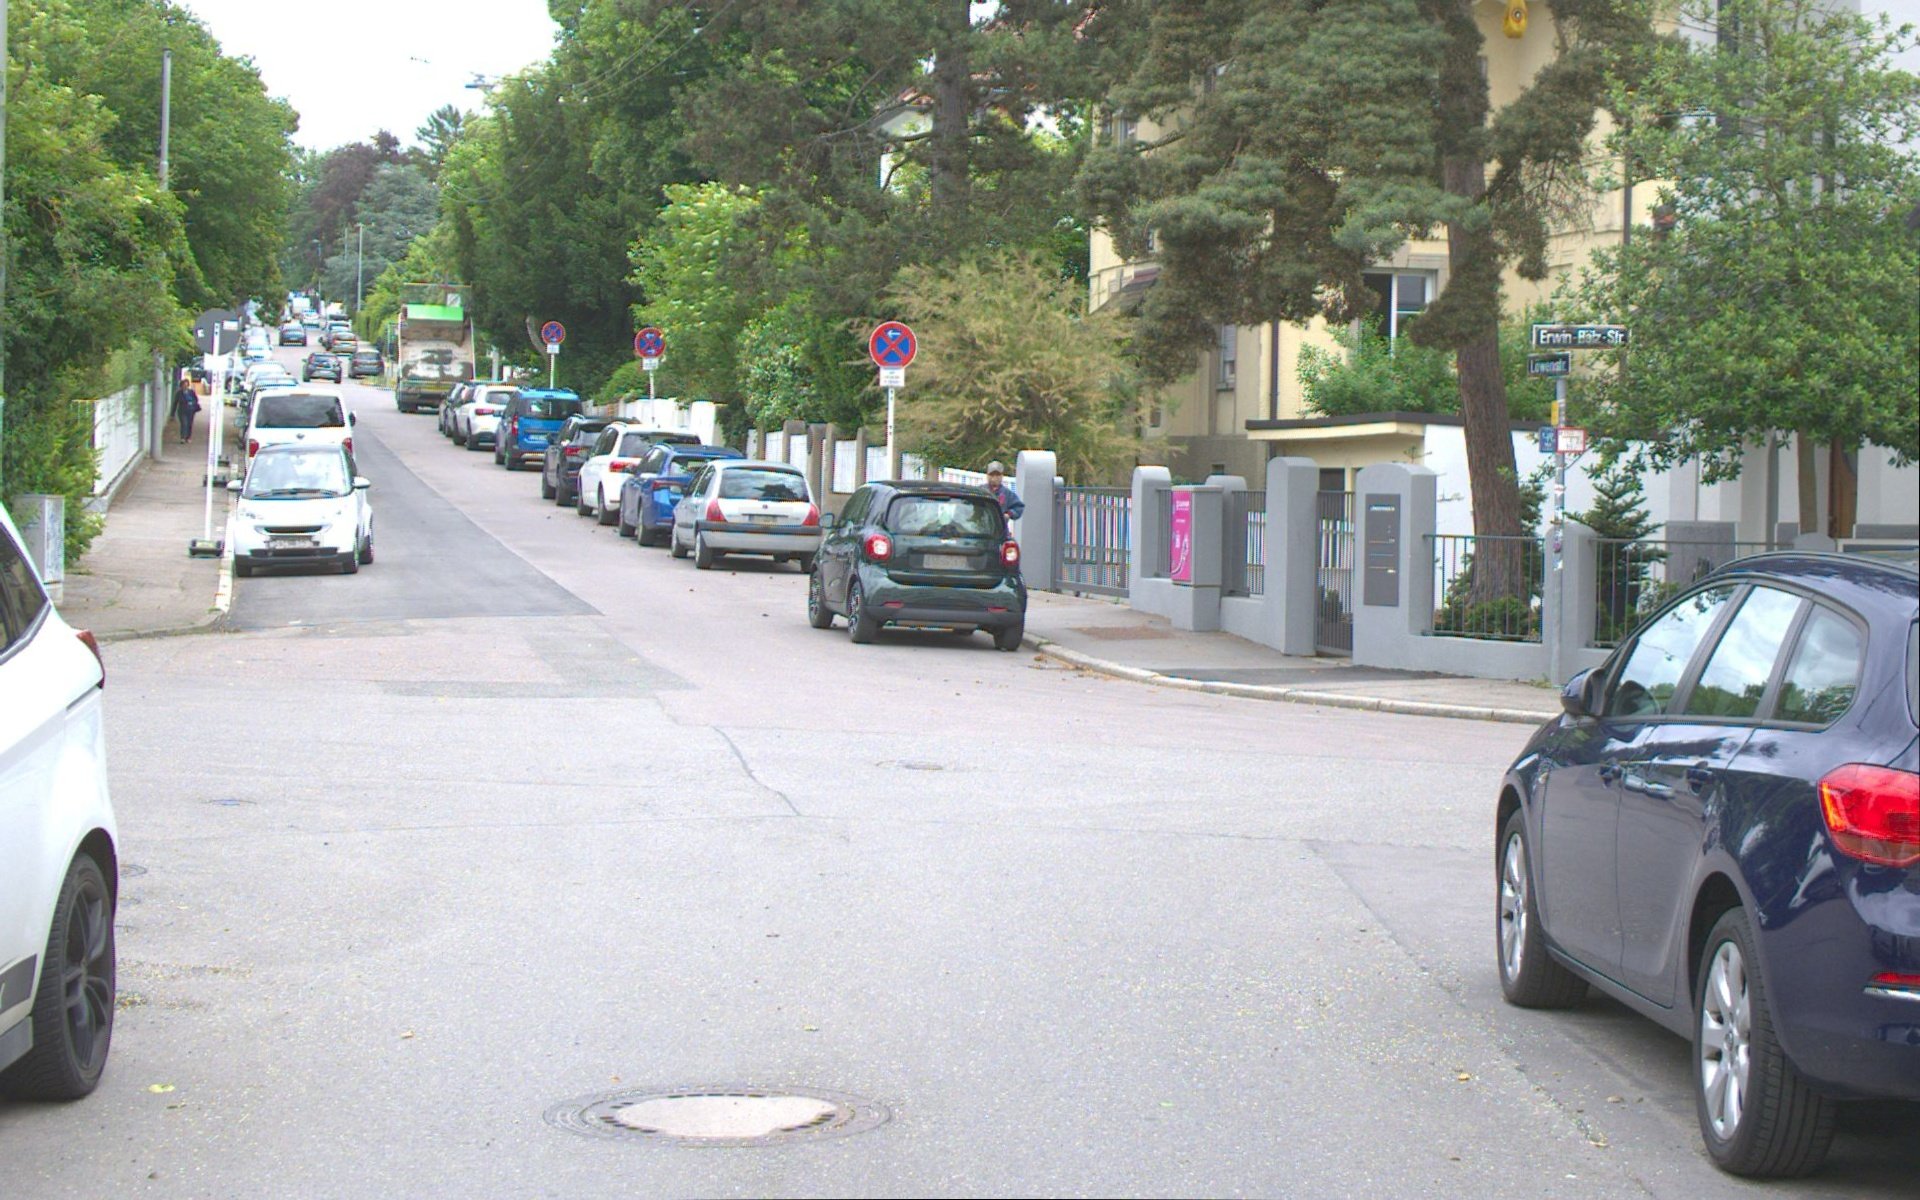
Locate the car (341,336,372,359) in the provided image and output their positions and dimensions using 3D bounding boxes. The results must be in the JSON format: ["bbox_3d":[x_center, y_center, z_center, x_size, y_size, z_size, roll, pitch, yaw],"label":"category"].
[{"bbox_3d":[-40.019,-16.736,227.946,1.809,1.331,3.634,2,5,-13],"label":"car"}]

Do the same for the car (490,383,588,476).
[{"bbox_3d":[-9.391,-3.816,76.503,1.682,1.822,4.159,3,4,-12],"label":"car"}]

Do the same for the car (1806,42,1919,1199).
[{"bbox_3d":[2.576,0.306,3.799,1.993,2.414,5.293,1,1,1],"label":"car"}]

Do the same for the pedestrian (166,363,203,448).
[{"bbox_3d":[-18.901,-4.744,83.817,0.811,2.006,0.860,1,4,-11],"label":"pedestrian"}]

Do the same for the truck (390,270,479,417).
[{"bbox_3d":[-17.934,-8.742,117.046,2.523,4.731,7.191,2,4,-11],"label":"truck"}]

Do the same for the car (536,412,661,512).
[{"bbox_3d":[-6.570,-2.516,62.127,1.749,1.602,4.077,3,3,-12],"label":"car"}]

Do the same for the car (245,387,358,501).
[{"bbox_3d":[-11.783,-2.828,61.432,1.854,1.906,4.622,-1,4,-11],"label":"car"}]

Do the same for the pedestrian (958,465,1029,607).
[{"bbox_3d":[0.376,-0.736,38.887,0.681,1.571,0.907,-1,2,-5],"label":"pedestrian"}]

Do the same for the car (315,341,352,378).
[{"bbox_3d":[-31.109,-11.943,170.672,1.633,1.695,3.496,1,5,-12],"label":"car"}]

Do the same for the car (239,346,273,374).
[{"bbox_3d":[-41.375,-14.122,202.107,1.711,1.580,4.002,2,4,-9],"label":"car"}]

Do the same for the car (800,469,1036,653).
[{"bbox_3d":[-0.452,-0.413,33.444,1.571,1.526,2.869,3,3,-14],"label":"car"}]

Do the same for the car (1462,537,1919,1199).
[{"bbox_3d":[2.666,0.624,9.256,1.818,1.480,4.287,1,2,-2],"label":"car"}]

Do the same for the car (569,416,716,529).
[{"bbox_3d":[-5.256,-2.128,56.492,1.784,1.597,4.307,3,4,-13],"label":"car"}]

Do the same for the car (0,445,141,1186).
[{"bbox_3d":[-3.031,0.504,6.959,1.804,1.653,4.152,1,2,-1],"label":"car"}]

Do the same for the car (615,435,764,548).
[{"bbox_3d":[-4.002,-1.619,50.403,1.647,1.453,4.054,2,3,-11],"label":"car"}]

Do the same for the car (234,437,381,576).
[{"bbox_3d":[-8.035,-1.183,42.487,1.442,1.546,2.771,-2,4,-5],"label":"car"}]

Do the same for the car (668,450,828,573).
[{"bbox_3d":[-2.853,-1.208,45.628,1.573,1.395,3.657,3,4,-11],"label":"car"}]

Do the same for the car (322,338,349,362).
[{"bbox_3d":[-42.928,-17.197,236.438,1.789,1.524,3.736,1,4,-10],"label":"car"}]

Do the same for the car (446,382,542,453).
[{"bbox_3d":[-11.830,-4.640,87.040,1.757,1.600,4.578,2,4,-15],"label":"car"}]

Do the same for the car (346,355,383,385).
[{"bbox_3d":[-32.103,-12.416,185.295,1.778,1.483,4.002,1,4,-13],"label":"car"}]
